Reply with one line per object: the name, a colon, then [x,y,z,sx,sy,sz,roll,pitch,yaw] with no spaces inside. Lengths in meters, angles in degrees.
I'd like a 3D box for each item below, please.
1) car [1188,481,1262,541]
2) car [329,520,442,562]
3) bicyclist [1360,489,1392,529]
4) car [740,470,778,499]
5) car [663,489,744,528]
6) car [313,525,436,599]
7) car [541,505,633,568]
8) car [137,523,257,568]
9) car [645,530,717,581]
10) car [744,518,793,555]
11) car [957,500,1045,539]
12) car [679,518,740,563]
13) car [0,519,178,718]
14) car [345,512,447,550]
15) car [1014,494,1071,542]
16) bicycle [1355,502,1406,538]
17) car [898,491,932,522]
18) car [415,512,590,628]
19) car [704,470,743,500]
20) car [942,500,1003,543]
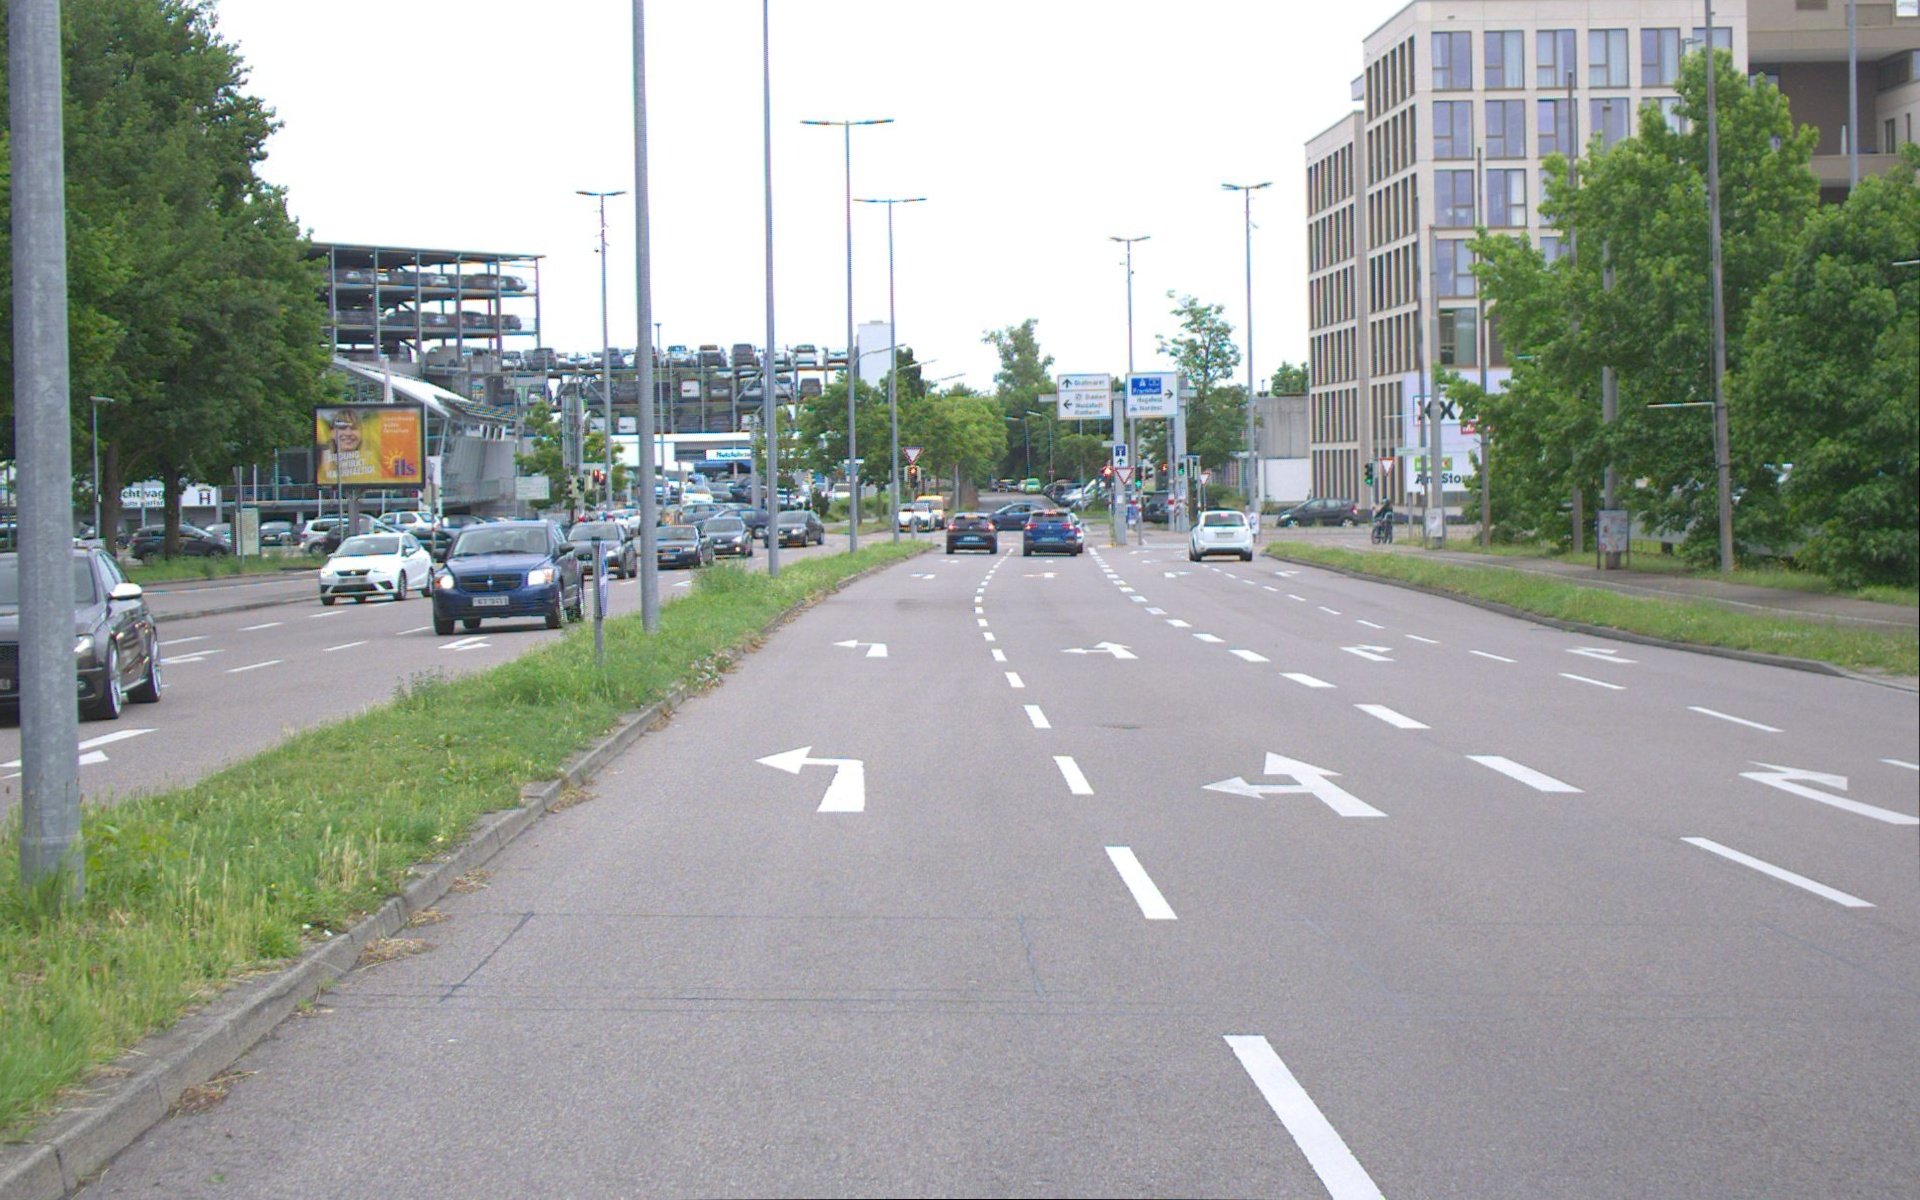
car: [7.925,-2.686,103.139,1.993,1.746,4.180,-1,2,2]
car: [-23.599,-2.426,141.319,4.415,1.654,2.000,-1,1,-6]
bicyclist: [15.478,-3.391,127.948,0.700,1.498,1.000,-2,3,-35]
car: [-12.625,-7.240,215.729,1.776,1.700,3.916,0,4,6]
car: [-12.818,-4.576,171.814,3.986,1.783,1.848,-1,4,-3]
car: [-12.419,-0.830,73.155,1.866,1.449,4.169,-2,1,0]
car: [-9.391,-1.624,86.721,1.758,1.448,4.000,-3,2,1]
car: [-31.217,-2.233,140.736,4.542,1.654,2.001,-2,2,-6]
car: [-8.465,-1.369,104.697,1.772,1.447,4.405,-3,1,0]
car: [-7.878,-2.624,141.116,1.930,1.450,4.183,-1,2,-4]
car: [1.876,-3.685,157.476,3.855,1.629,1.725,-1,4,-5]
car: [-8.765,-2.098,120.481,1.780,1.450,4.183,-3,2,0]
car: [-7.772,0.120,28.553,1.882,1.431,4.433,-3,2,-6]
car: [-25.596,-3.152,156.192,4.415,1.654,2.000,-1,1,-6]
car: [2.740,-2.750,114.734,1.835,1.509,4.001,0,3,0]
bicycle: [15.617,-2.969,127.782,0.700,1.291,2.011,-2,3,-35]
car: [-2.308,-4.795,175.394,1.600,1.448,3.325,-1,4,1]
car: [-6.436,-0.466,48.820,1.931,1.481,4.440,-3,2,-1]
car: [-14.815,-7.212,215.735,1.776,1.700,3.916,0,4,6]
car: [0.417,-2.720,119.476,1.987,1.423,4.242,-1,1,-1]
